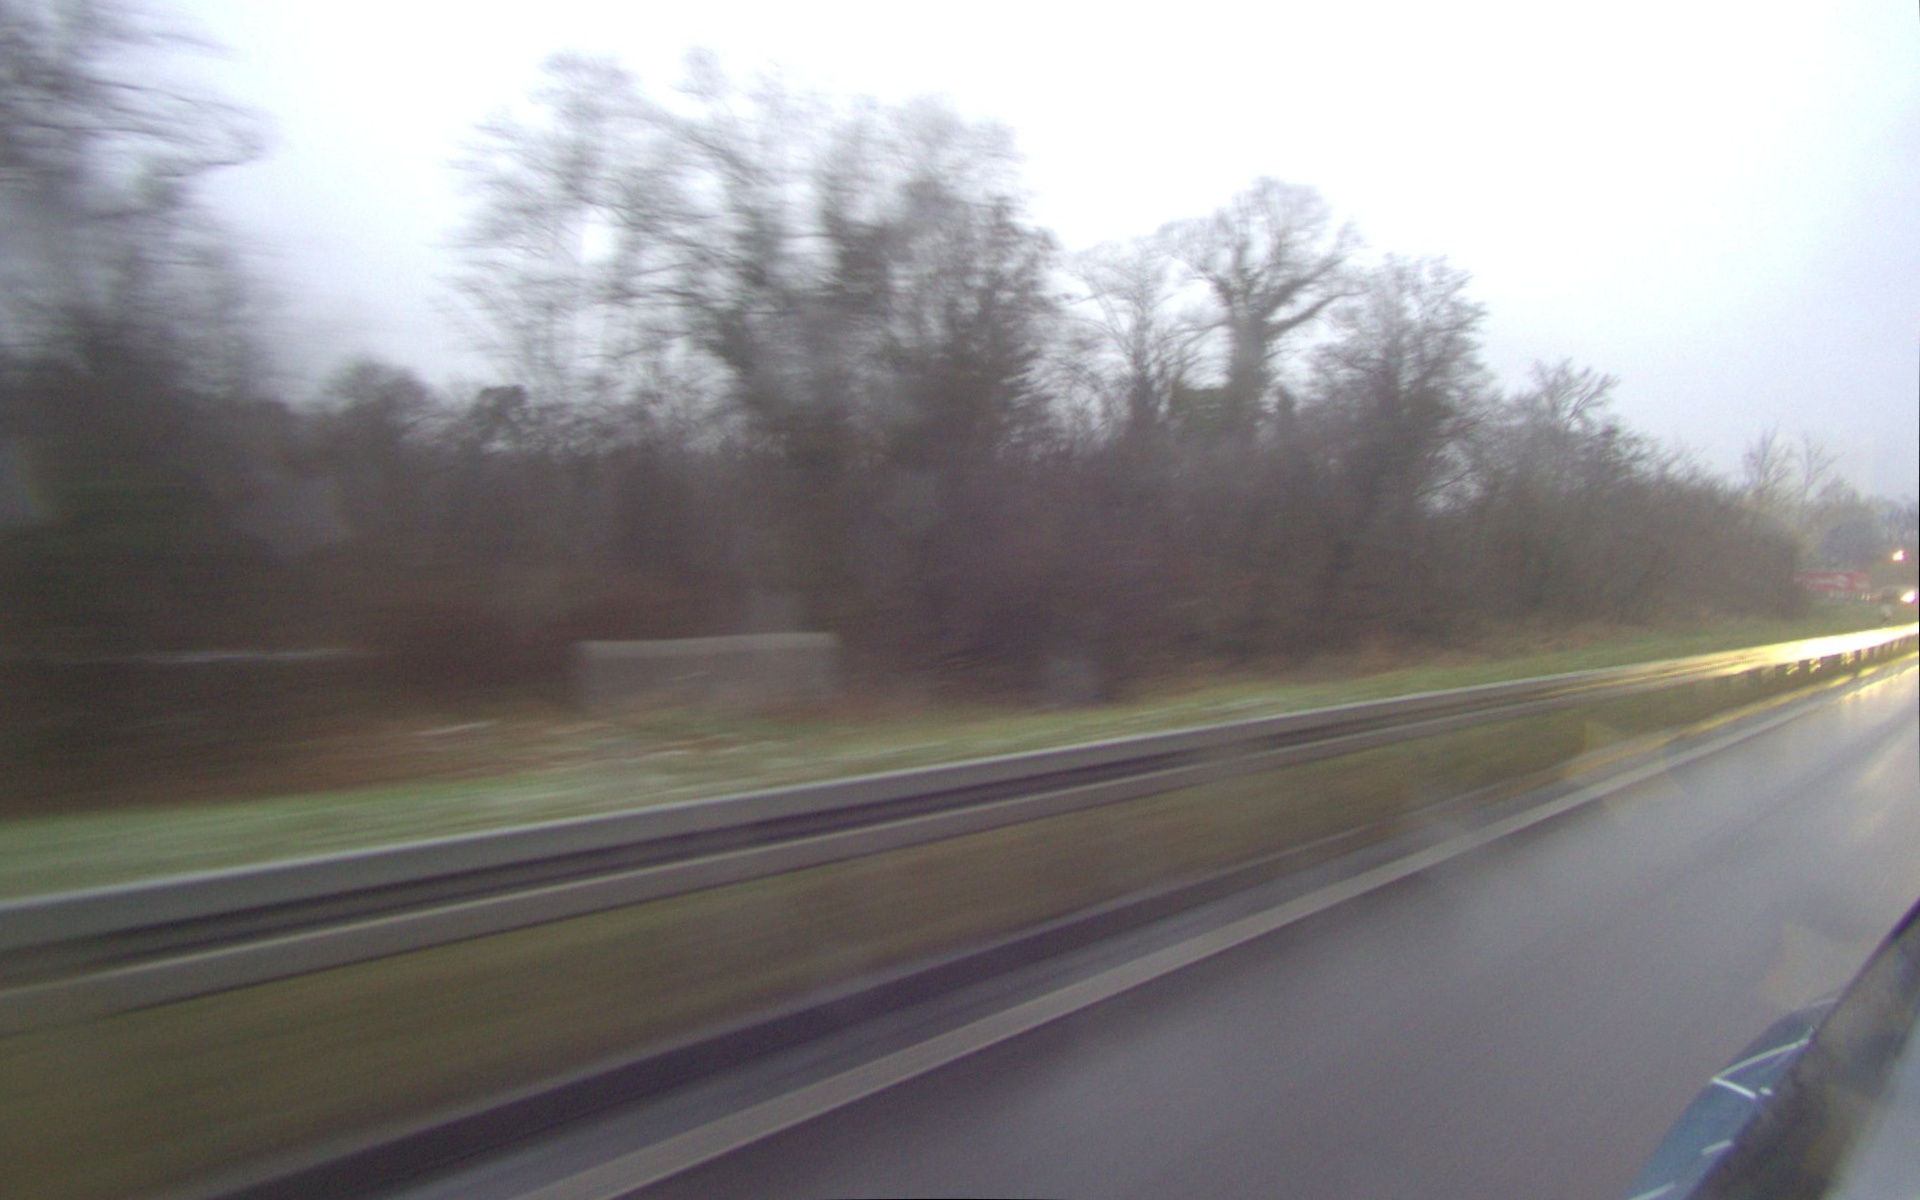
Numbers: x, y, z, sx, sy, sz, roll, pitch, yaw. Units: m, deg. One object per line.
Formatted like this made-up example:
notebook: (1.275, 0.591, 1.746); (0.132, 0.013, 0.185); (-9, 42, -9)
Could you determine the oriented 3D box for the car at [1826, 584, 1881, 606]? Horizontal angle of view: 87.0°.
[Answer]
car: (85.296, -0.548, 96.699); (1.968, 2.039, 4.218); (0, 1, 10)
